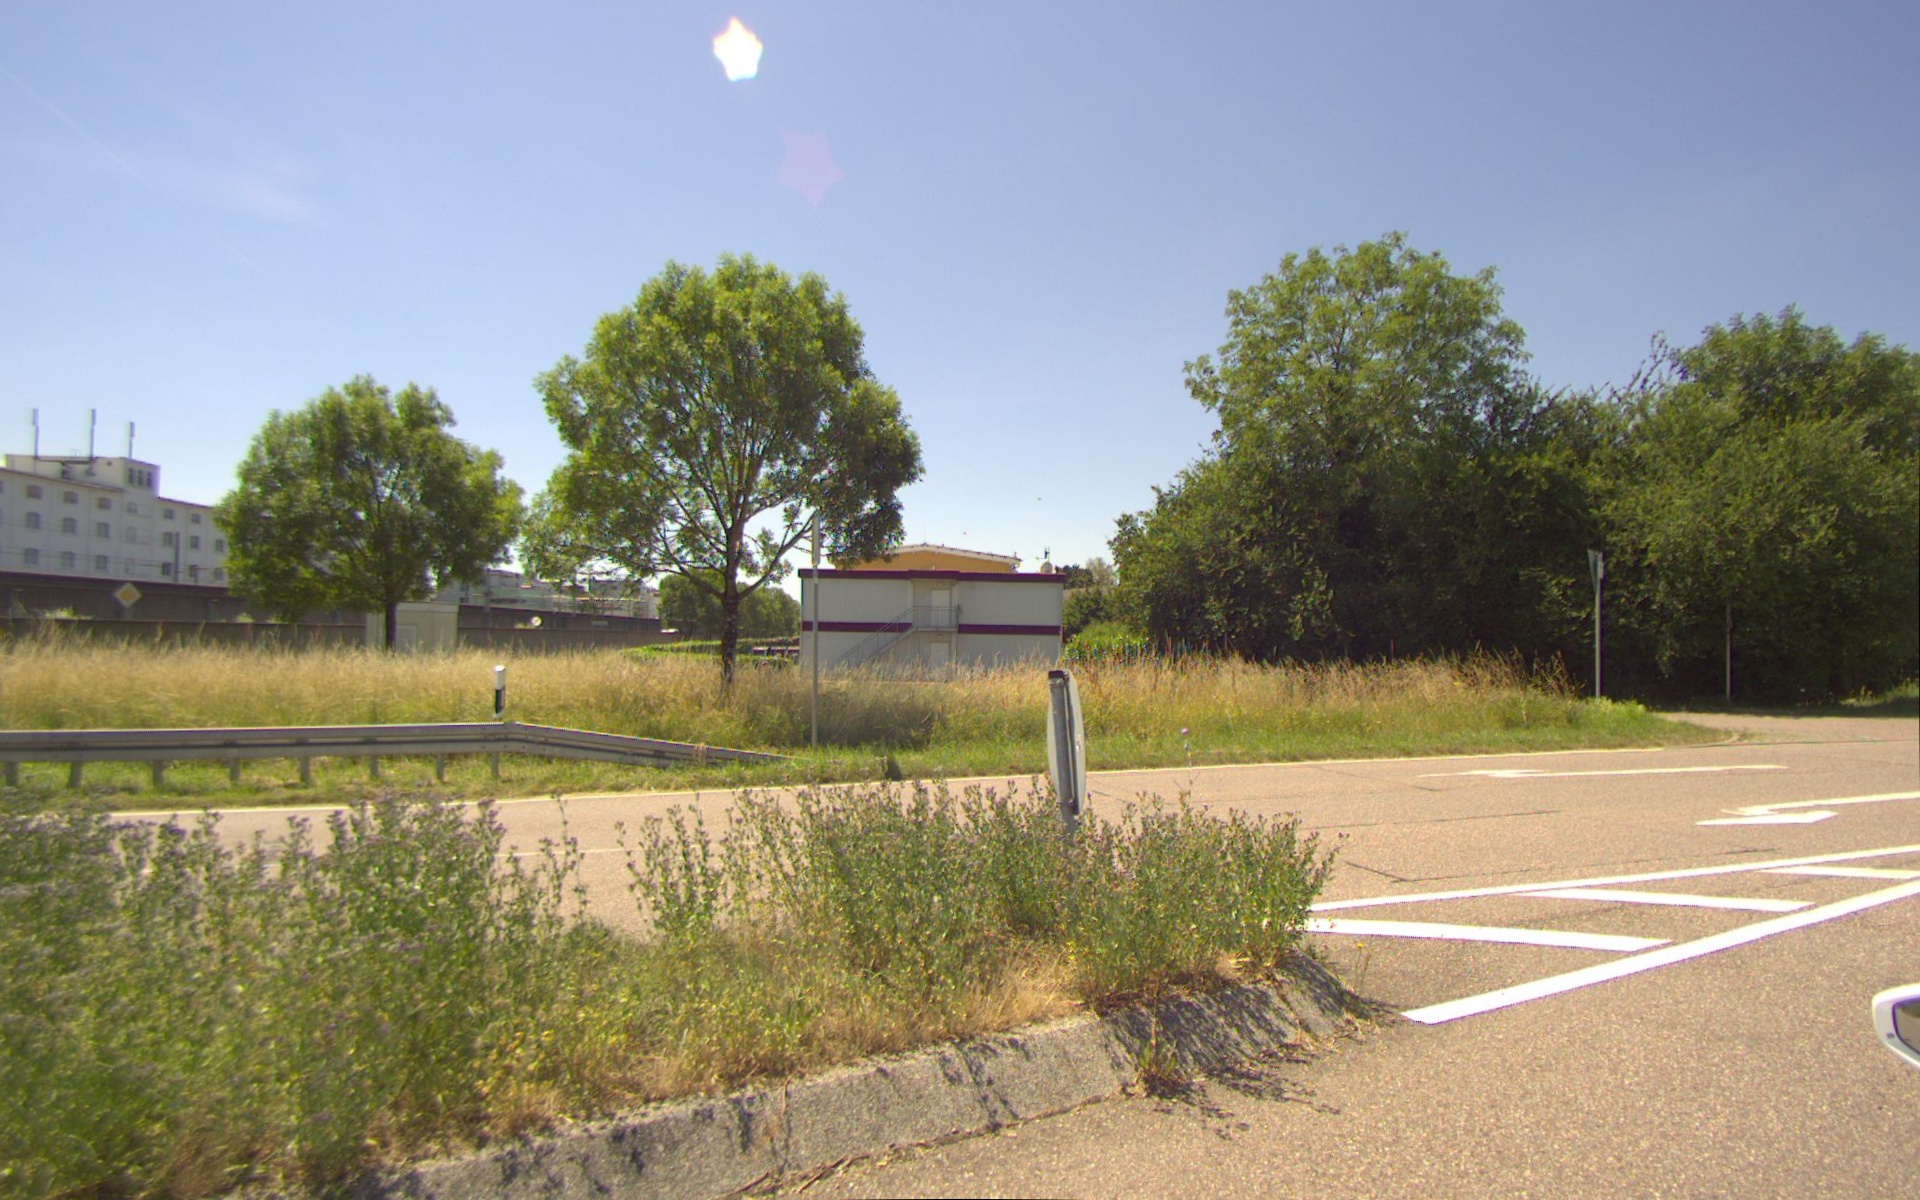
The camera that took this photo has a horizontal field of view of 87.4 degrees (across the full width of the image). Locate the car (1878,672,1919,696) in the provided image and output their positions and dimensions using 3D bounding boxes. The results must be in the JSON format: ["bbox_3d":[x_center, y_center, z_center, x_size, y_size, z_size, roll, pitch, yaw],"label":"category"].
[{"bbox_3d":[67.019,5.896,70.304,3.941,1.591,1.991,-2,-4,41],"label":"car"}]
